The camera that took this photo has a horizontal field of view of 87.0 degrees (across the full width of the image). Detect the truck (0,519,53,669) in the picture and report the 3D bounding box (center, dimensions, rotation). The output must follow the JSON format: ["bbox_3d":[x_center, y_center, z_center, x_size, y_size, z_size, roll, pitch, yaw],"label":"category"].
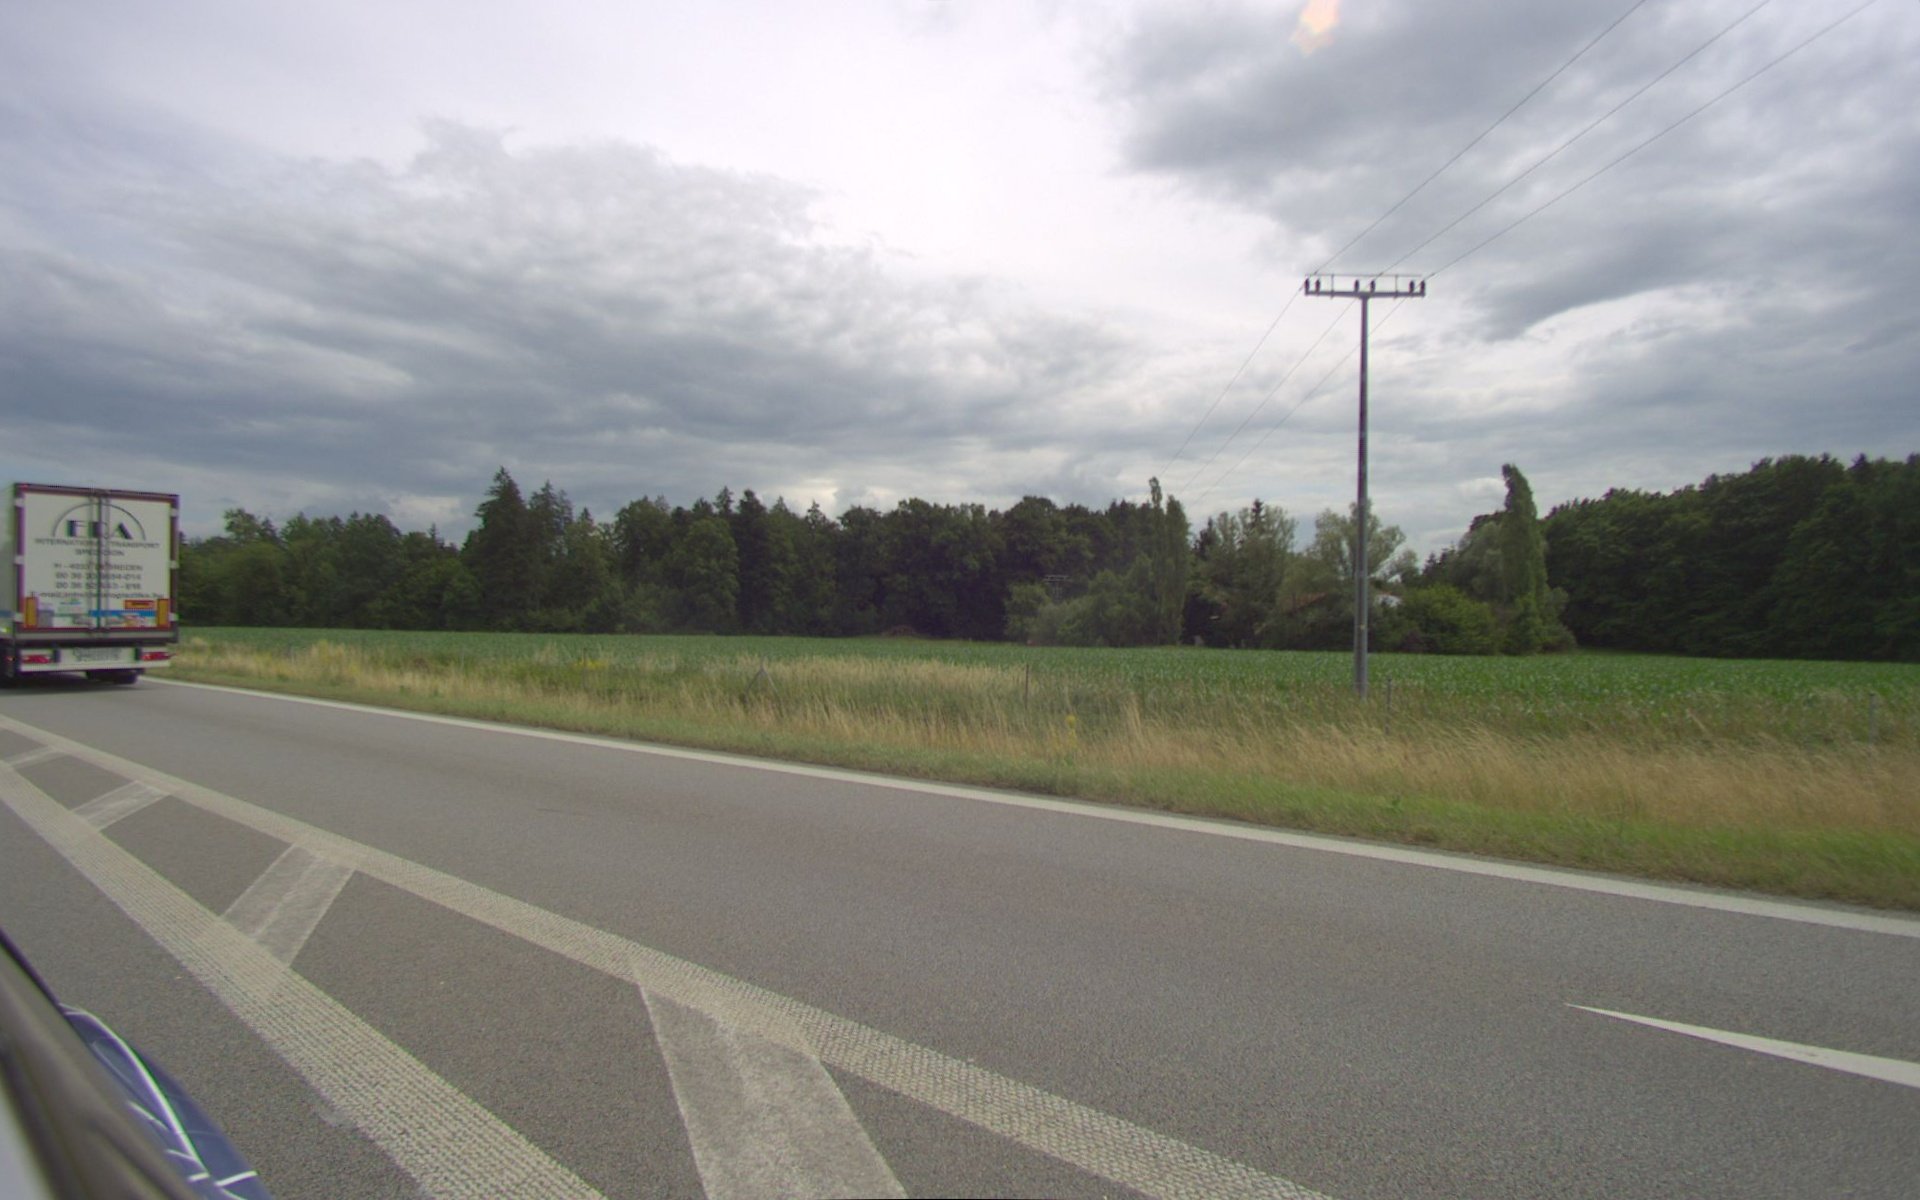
[{"bbox_3d":[-27.836,-0.106,28.596,5.198,4.026,2.465,-2,-2,39],"label":"truck"}]

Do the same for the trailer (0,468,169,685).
[{"bbox_3d":[-22.118,-0.265,23.865,13.059,4.026,2.465,-2,-2,39],"label":"trailer"}]
